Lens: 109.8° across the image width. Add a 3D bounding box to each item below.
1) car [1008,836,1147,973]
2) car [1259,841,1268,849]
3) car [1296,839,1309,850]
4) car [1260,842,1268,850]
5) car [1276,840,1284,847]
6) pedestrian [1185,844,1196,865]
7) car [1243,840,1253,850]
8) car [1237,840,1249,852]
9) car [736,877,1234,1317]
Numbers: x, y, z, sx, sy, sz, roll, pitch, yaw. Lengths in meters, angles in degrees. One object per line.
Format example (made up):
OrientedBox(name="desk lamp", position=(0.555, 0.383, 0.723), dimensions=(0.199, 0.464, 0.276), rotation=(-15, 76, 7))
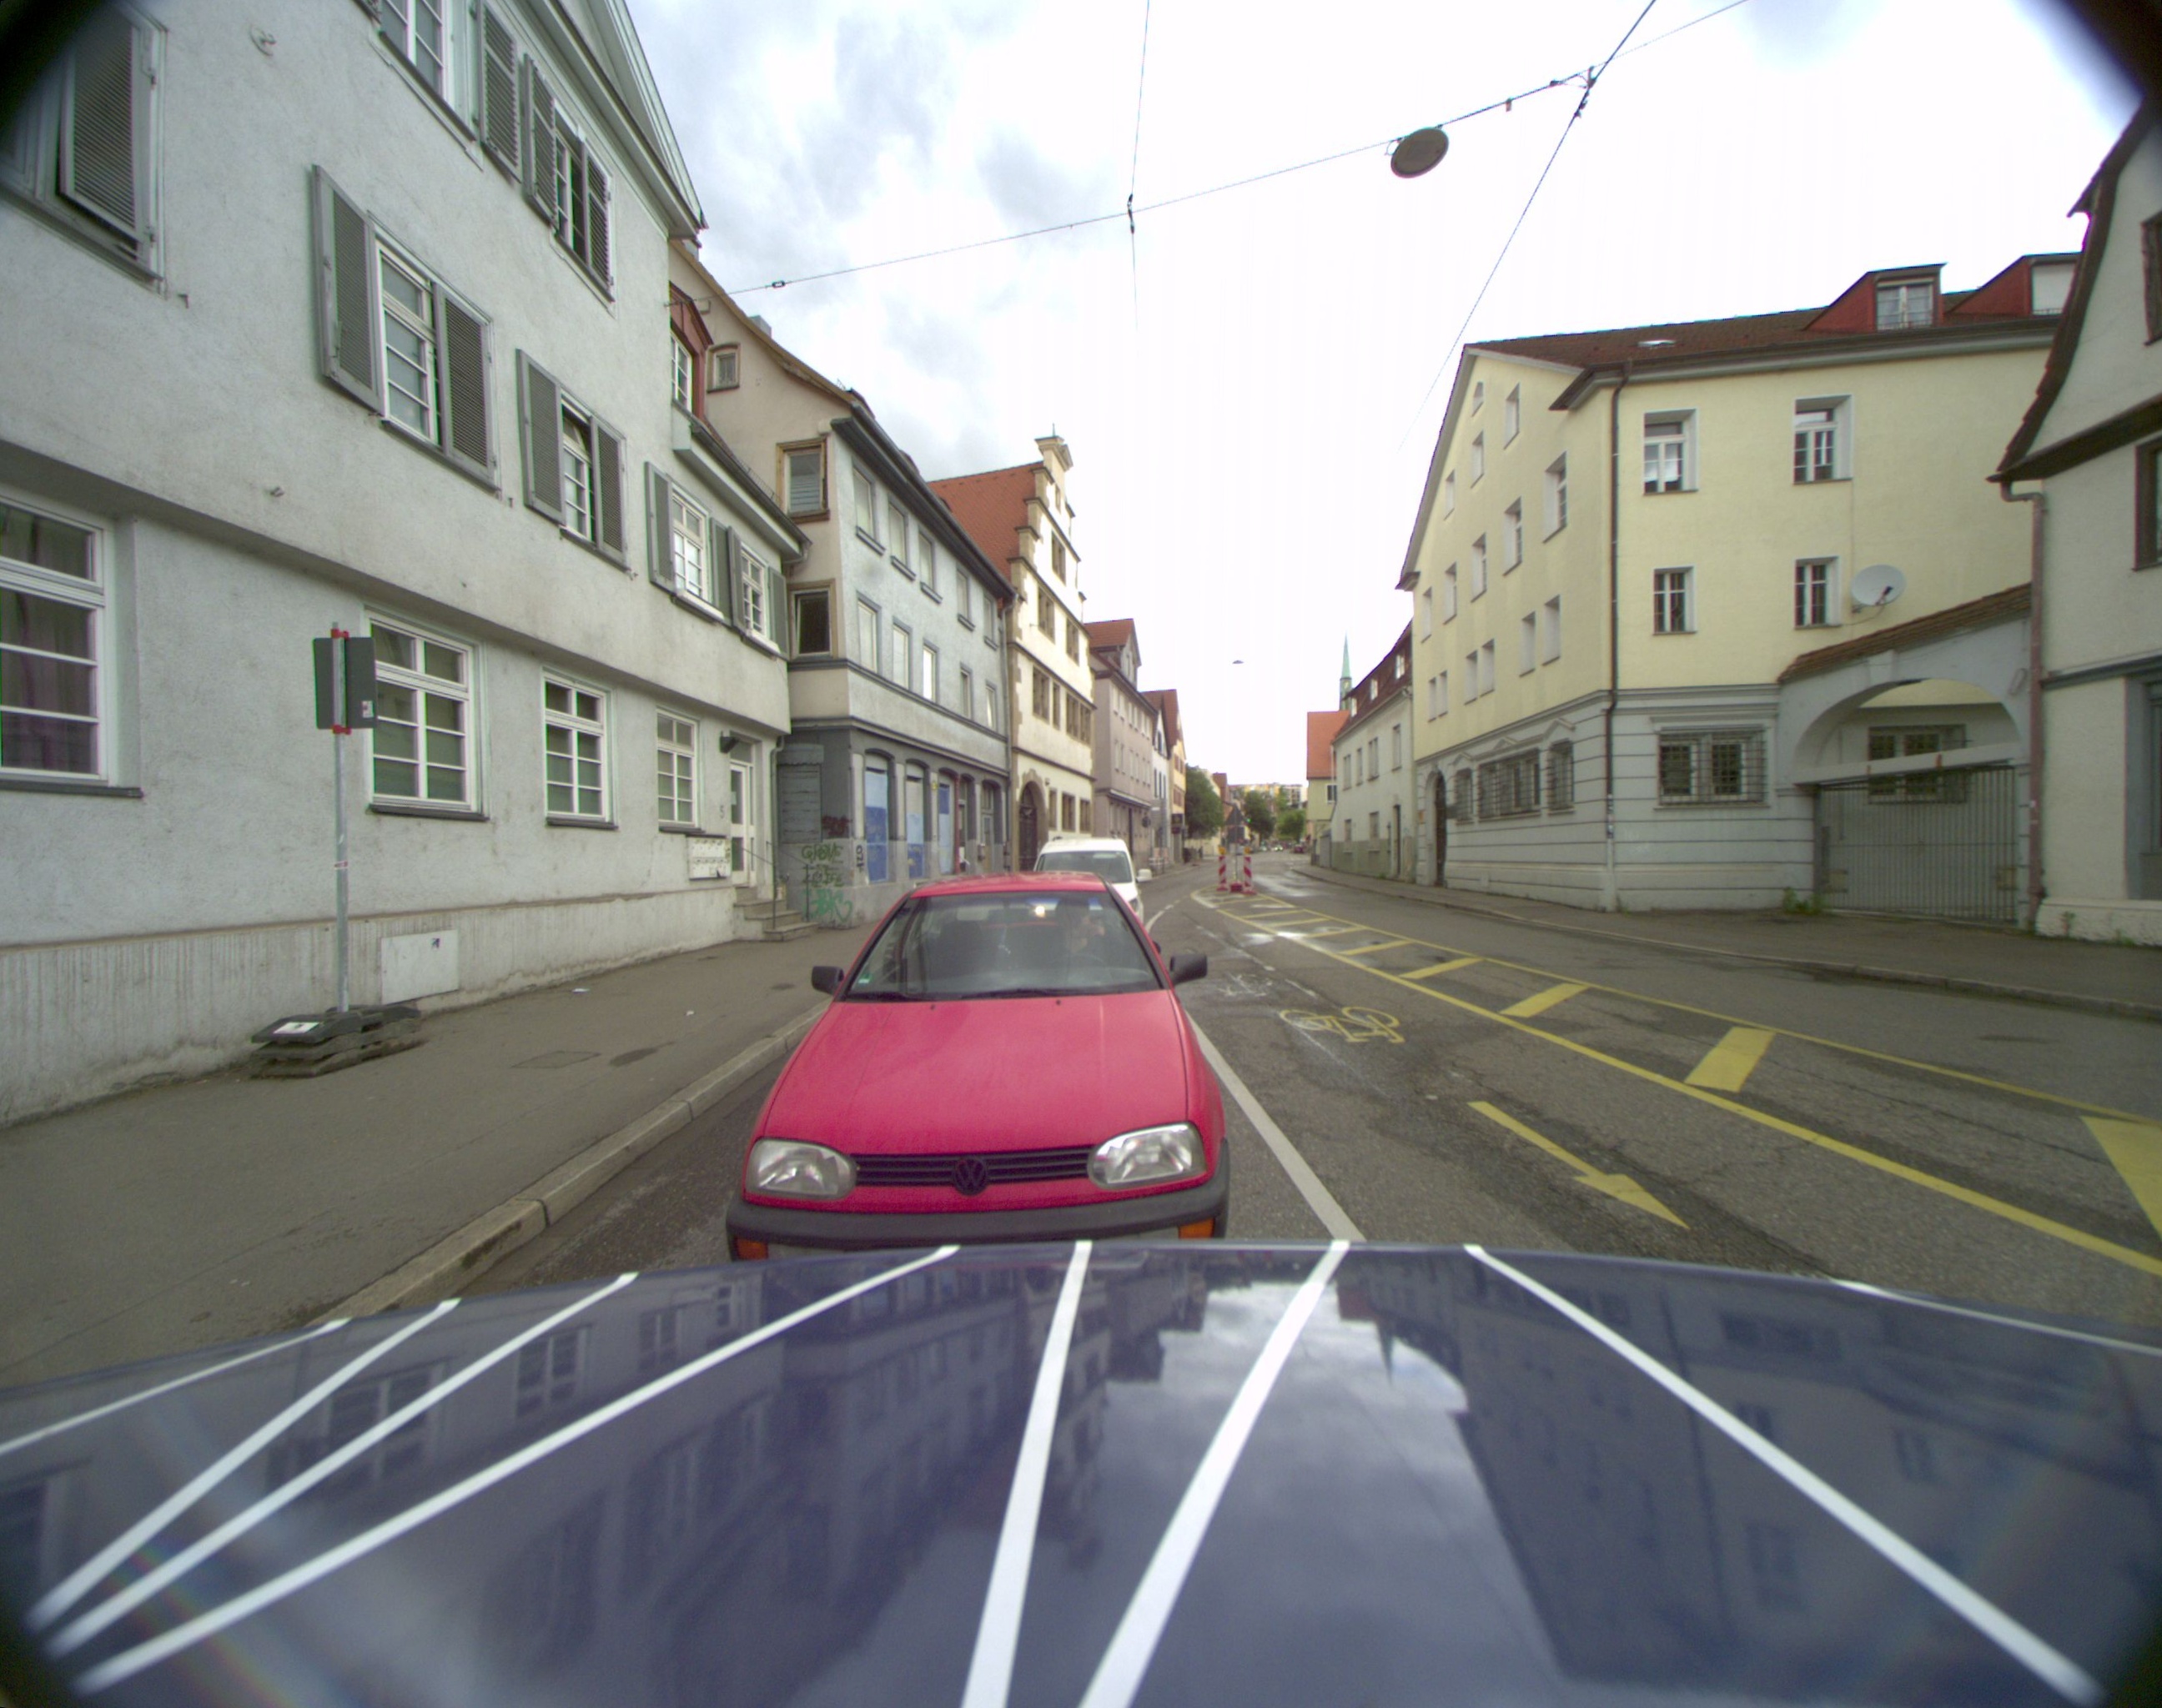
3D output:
OrientedBox(name="car", position=(-0.012, 0.673, 12.193), dimensions=(1.804, 1.781, 4.349), rotation=(-1, 0, 1))
OrientedBox(name="car", position=(44.944, -2.149, 186.812), dimensions=(1.996, 2.002, 4.004), rotation=(-1, 0, 13))
OrientedBox(name="car", position=(42.716, -1.770, 146.581), dimensions=(2.057, 2.002, 4.004), rotation=(-1, 0, 13))
OrientedBox(name="car", position=(48.464, -2.099, 201.286), dimensions=(1.996, 2.002, 4.004), rotation=(-1, 0, 13))
OrientedBox(name="car", position=(56.506, -2.918, 216.183), dimensions=(1.996, 2.002, 4.004), rotation=(-1, 0, 13))
OrientedBox(name="pedestrian", position=(9.830, 0.025, 68.012), dimensions=(0.877, 1.888, 0.898), rotation=(-1, 0, 14))
OrientedBox(name="car", position=(33.962, -1.749, 154.279), dimensions=(1.996, 2.002, 4.004), rotation=(-1, 0, 13))
OrientedBox(name="car", position=(28.444, -1.338, 133.501), dimensions=(1.996, 2.002, 4.004), rotation=(-1, 0, 13))
OrientedBox(name="car", position=(-0.338, 0.991, 4.886), dimensions=(1.804, 1.458, 4.000), rotation=(-4, 0, 1))
